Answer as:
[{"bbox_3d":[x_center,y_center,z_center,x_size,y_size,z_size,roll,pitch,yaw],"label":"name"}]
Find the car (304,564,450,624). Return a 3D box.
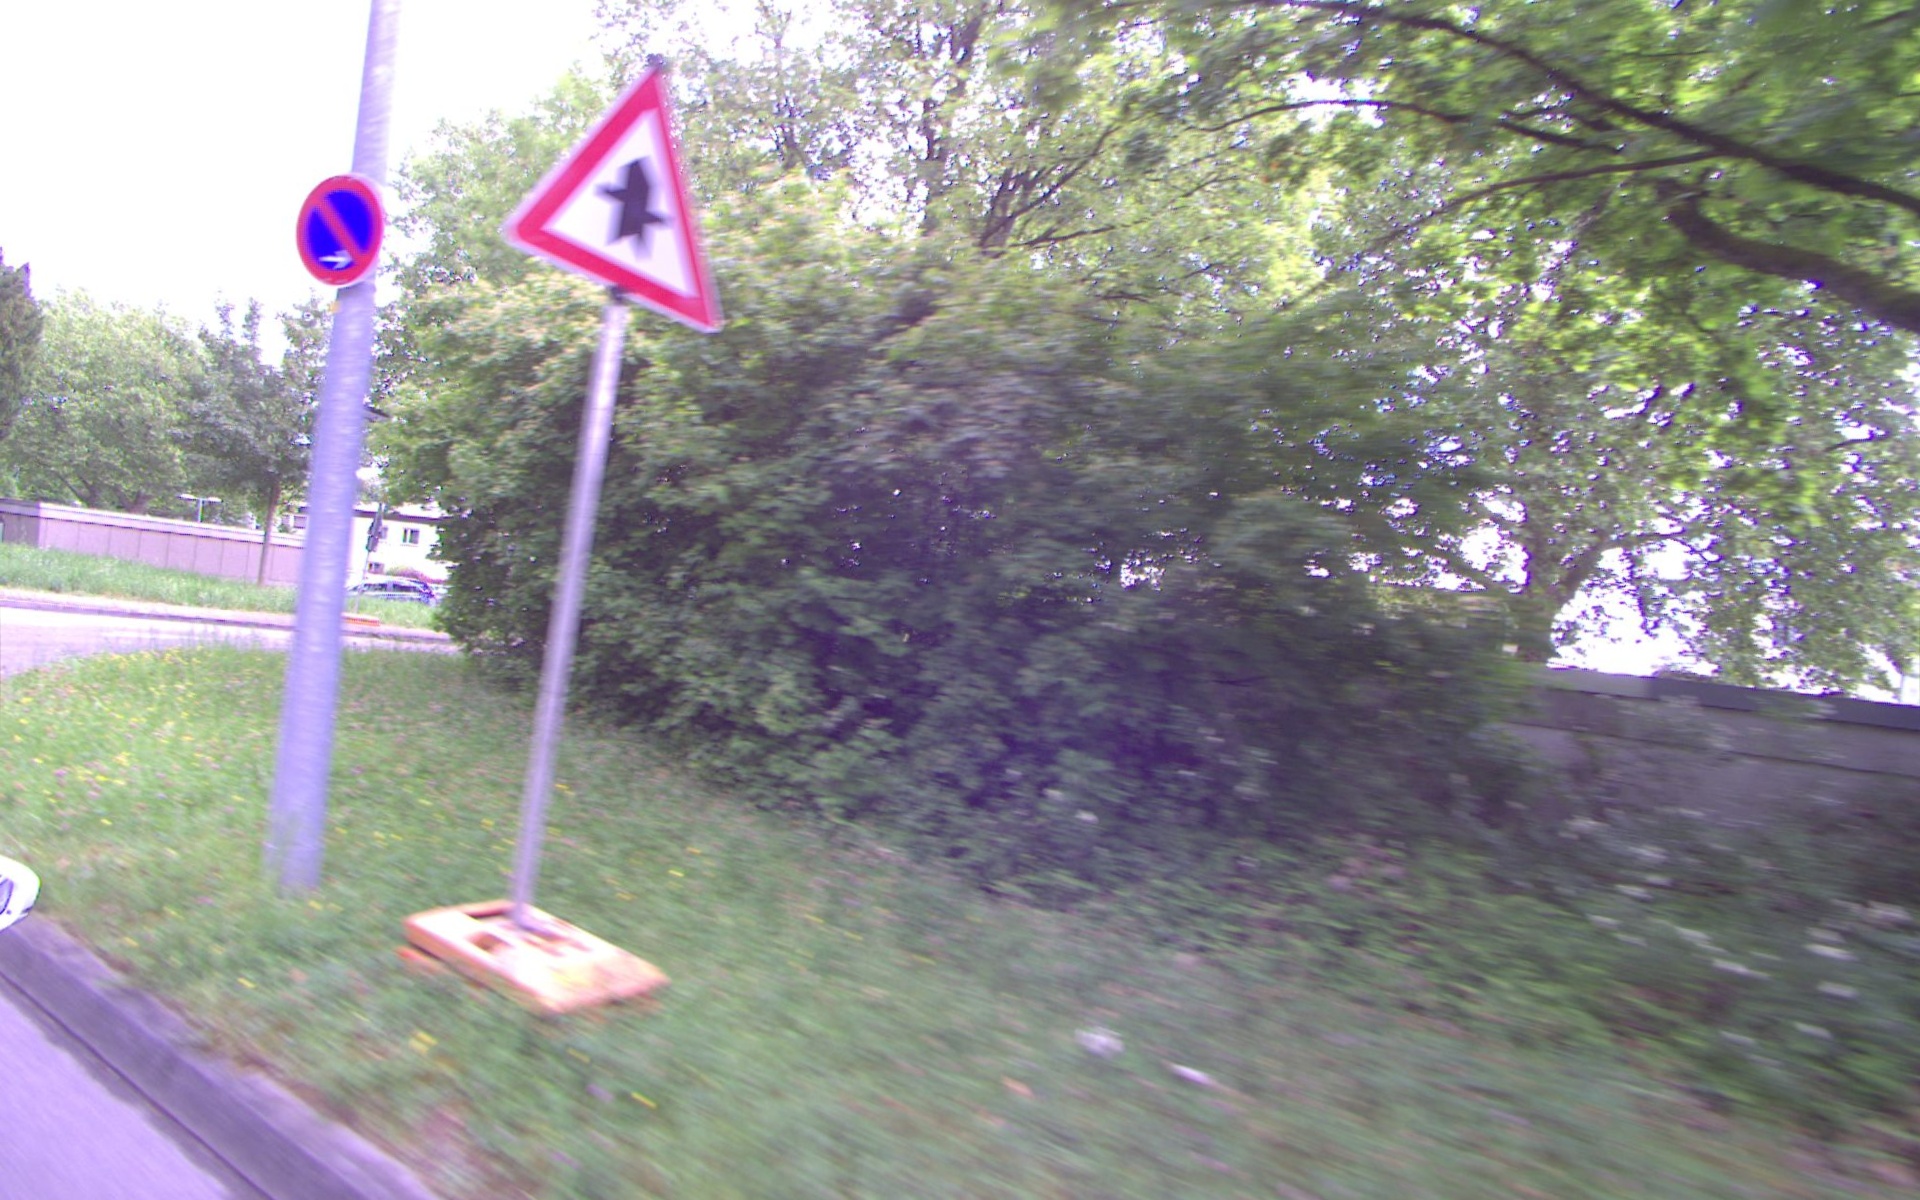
[{"bbox_3d":[-18.779,-0.160,32.565,1.780,1.329,3.570,7,-3,30],"label":"car"}]
